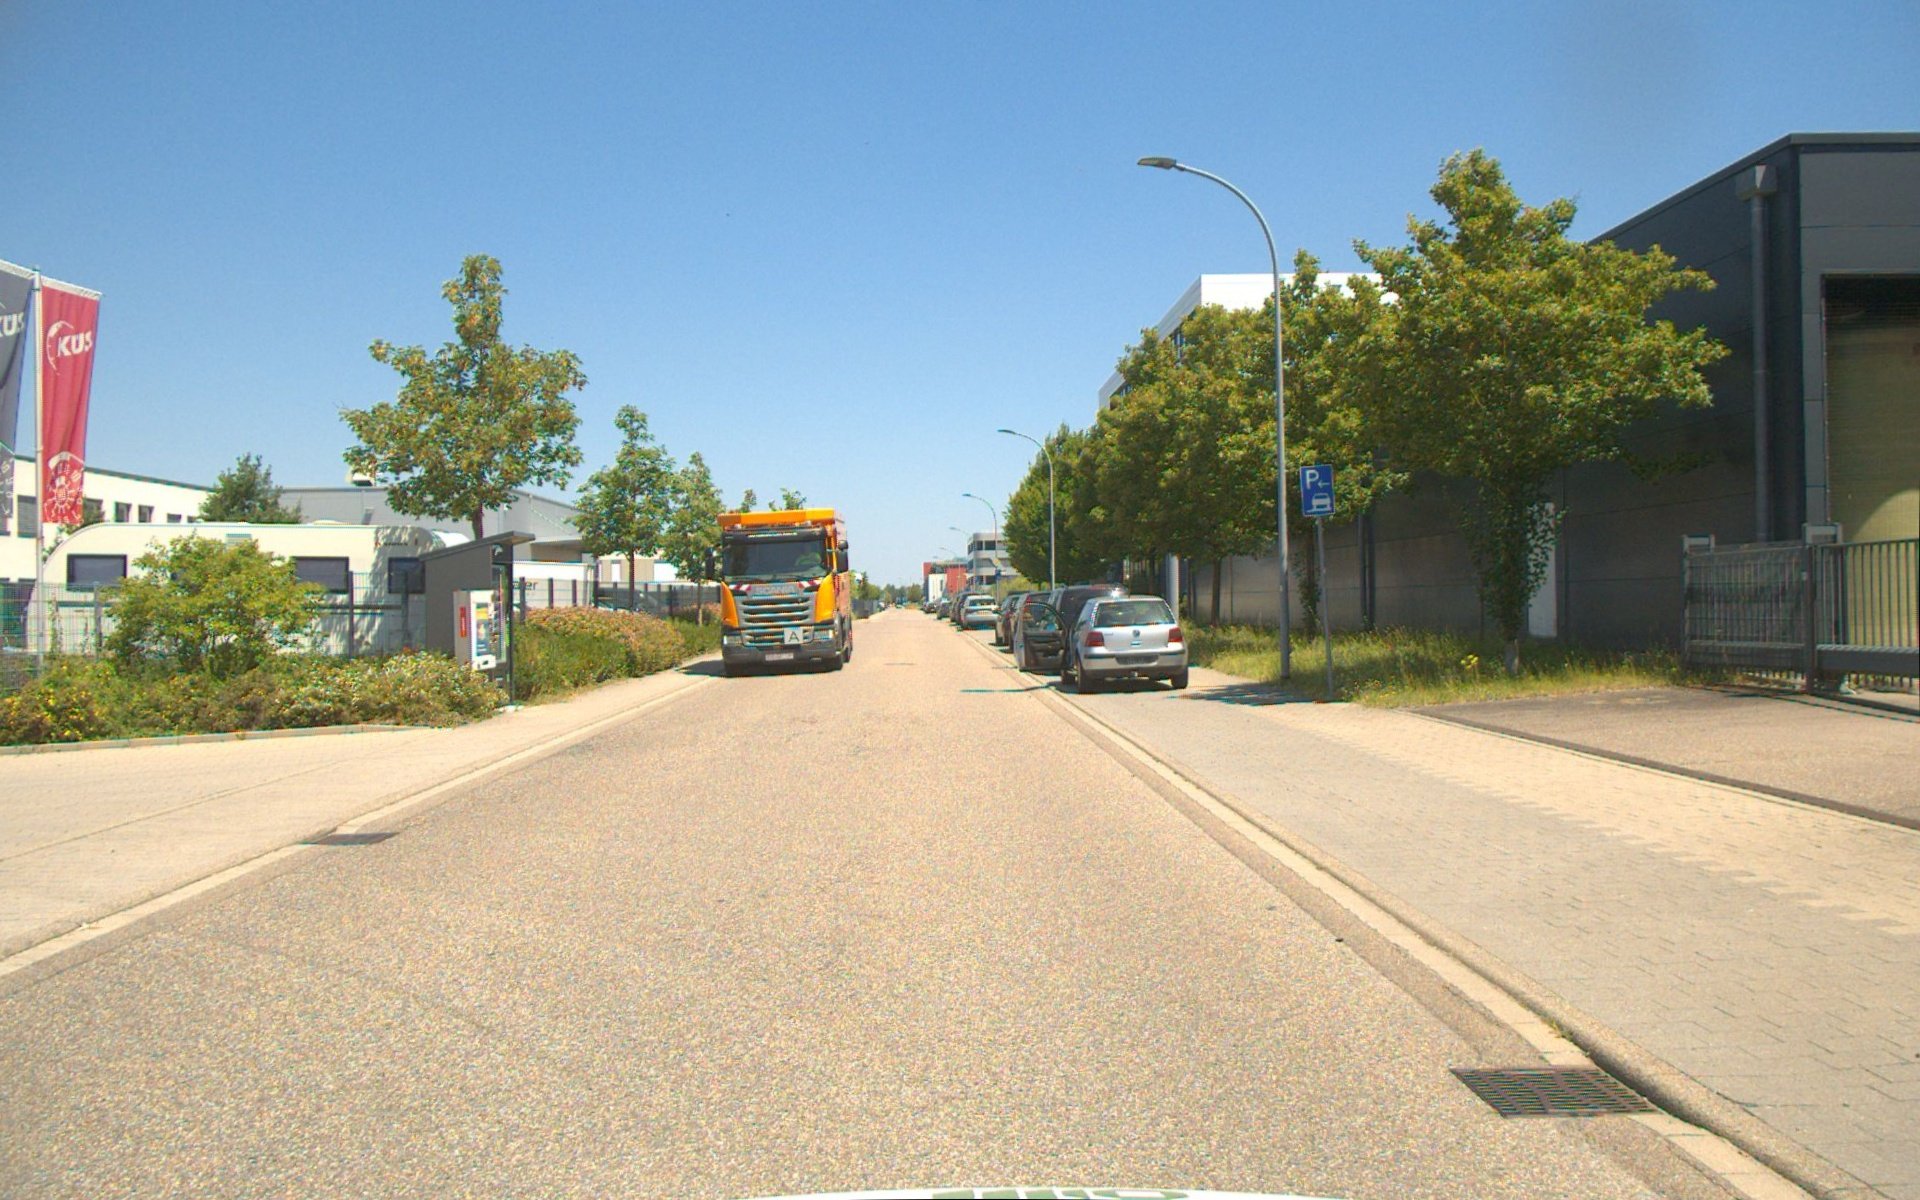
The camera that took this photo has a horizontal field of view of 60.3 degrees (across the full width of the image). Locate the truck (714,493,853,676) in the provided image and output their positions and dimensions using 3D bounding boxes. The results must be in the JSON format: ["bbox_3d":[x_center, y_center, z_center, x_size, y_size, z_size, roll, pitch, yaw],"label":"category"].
[{"bbox_3d":[-3.805,-0.338,37.316,2.399,3.574,8.269,-2,0,-2],"label":"truck"}]

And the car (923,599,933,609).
[{"bbox_3d":[-4.787,0.617,248.631,1.465,1.434,3.499,-1,0,-2],"label":"car"}]

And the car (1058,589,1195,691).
[{"bbox_3d":[2.598,0.602,26.540,1.683,1.475,3.644,-2,0,-2],"label":"car"}]

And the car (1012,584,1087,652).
[{"bbox_3d":[2.352,0.455,44.389,1.687,1.724,3.983,-1,0,-1],"label":"car"}]

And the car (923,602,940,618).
[{"bbox_3d":[-2.641,0.950,153.407,1.465,1.434,3.499,-1,0,-2],"label":"car"}]

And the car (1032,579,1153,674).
[{"bbox_3d":[2.538,0.487,32.580,1.646,1.716,3.995,-1,0,-6],"label":"car"}]

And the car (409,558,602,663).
[{"bbox_3d":[-12.060,0.263,44.192,4.624,2.631,1.998,-2,0,-6],"label":"car"}]

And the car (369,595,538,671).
[{"bbox_3d":[-11.694,0.751,38.309,3.419,1.639,1.499,-1,0,-3],"label":"car"}]

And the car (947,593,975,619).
[{"bbox_3d":[0.063,0.346,96.664,1.465,1.434,3.499,-1,0,-2],"label":"car"}]

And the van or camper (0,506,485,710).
[{"bbox_3d":[-12.054,0.119,27.883,7.237,3.090,2.789,-1,0,-3],"label":"van or camper"}]

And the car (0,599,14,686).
[{"bbox_3d":[-22.290,0.961,34.526,3.907,1.847,1.915,-2,0,-3],"label":"car"}]

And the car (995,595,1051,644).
[{"bbox_3d":[1.903,0.575,50.705,1.465,1.434,3.499,-1,0,-2],"label":"car"}]

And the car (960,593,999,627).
[{"bbox_3d":[0.862,0.442,73.496,1.553,1.434,3.499,-1,0,-2],"label":"car"}]

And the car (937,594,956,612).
[{"bbox_3d":[-1.134,0.239,137.779,1.465,1.434,3.499,-1,0,-2],"label":"car"}]
